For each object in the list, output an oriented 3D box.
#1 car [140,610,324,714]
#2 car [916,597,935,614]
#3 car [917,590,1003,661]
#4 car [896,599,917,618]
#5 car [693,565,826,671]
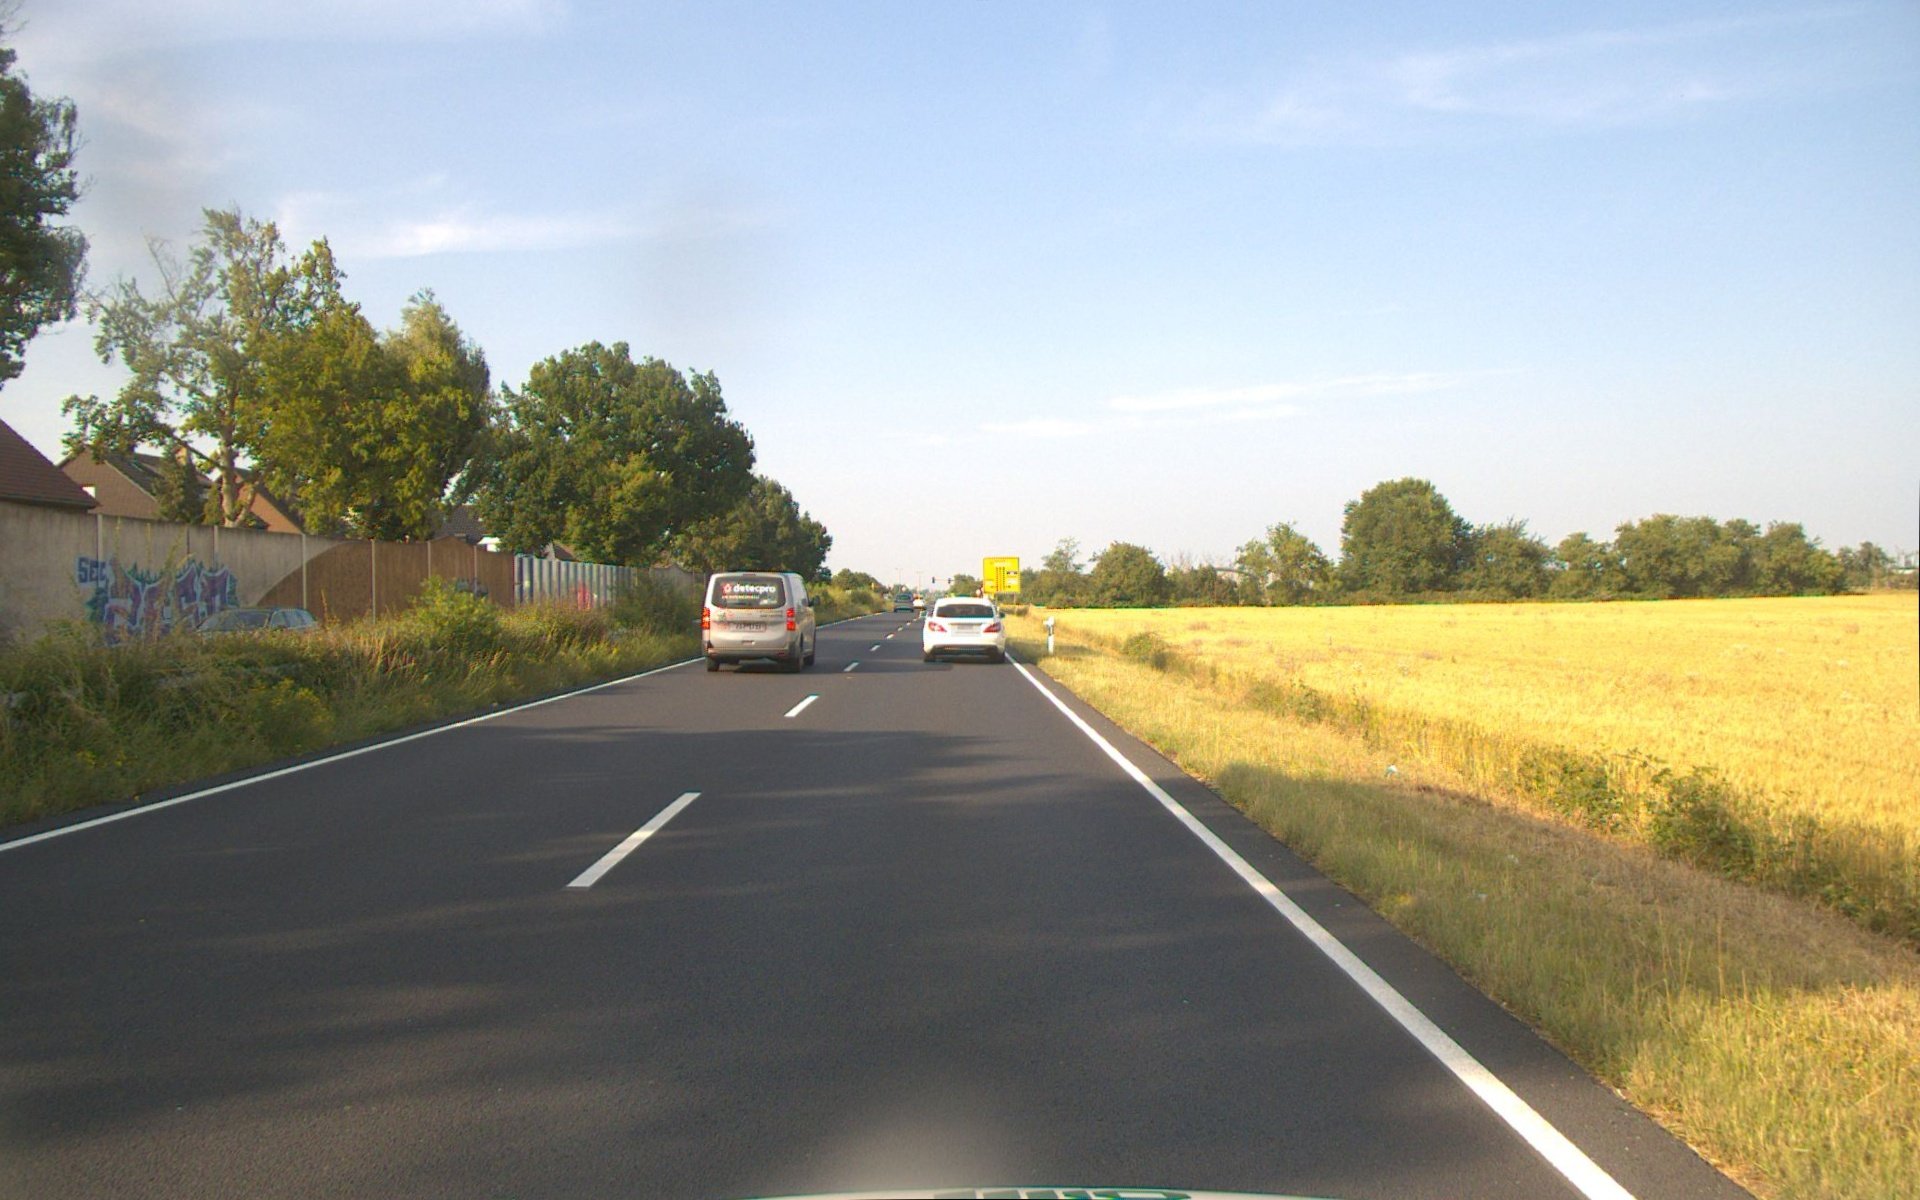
[{"bbox_3d":[-14.322,1.165,32.834,1.798,1.887,4.364,1,0,-2],"label":"car"},{"bbox_3d":[-3.534,0.565,168.329,1.839,1.680,3.662,1,0,-2],"label":"car"},{"bbox_3d":[-0.022,0.568,38.004,1.856,1.535,3.999,0,0,-1],"label":"car"},{"bbox_3d":[-4.554,0.719,141.537,1.682,1.518,3.584,1,0,0],"label":"car"},{"bbox_3d":[-3.895,0.322,32.925,1.984,1.925,4.958,1,0,0],"label":"car"}]
